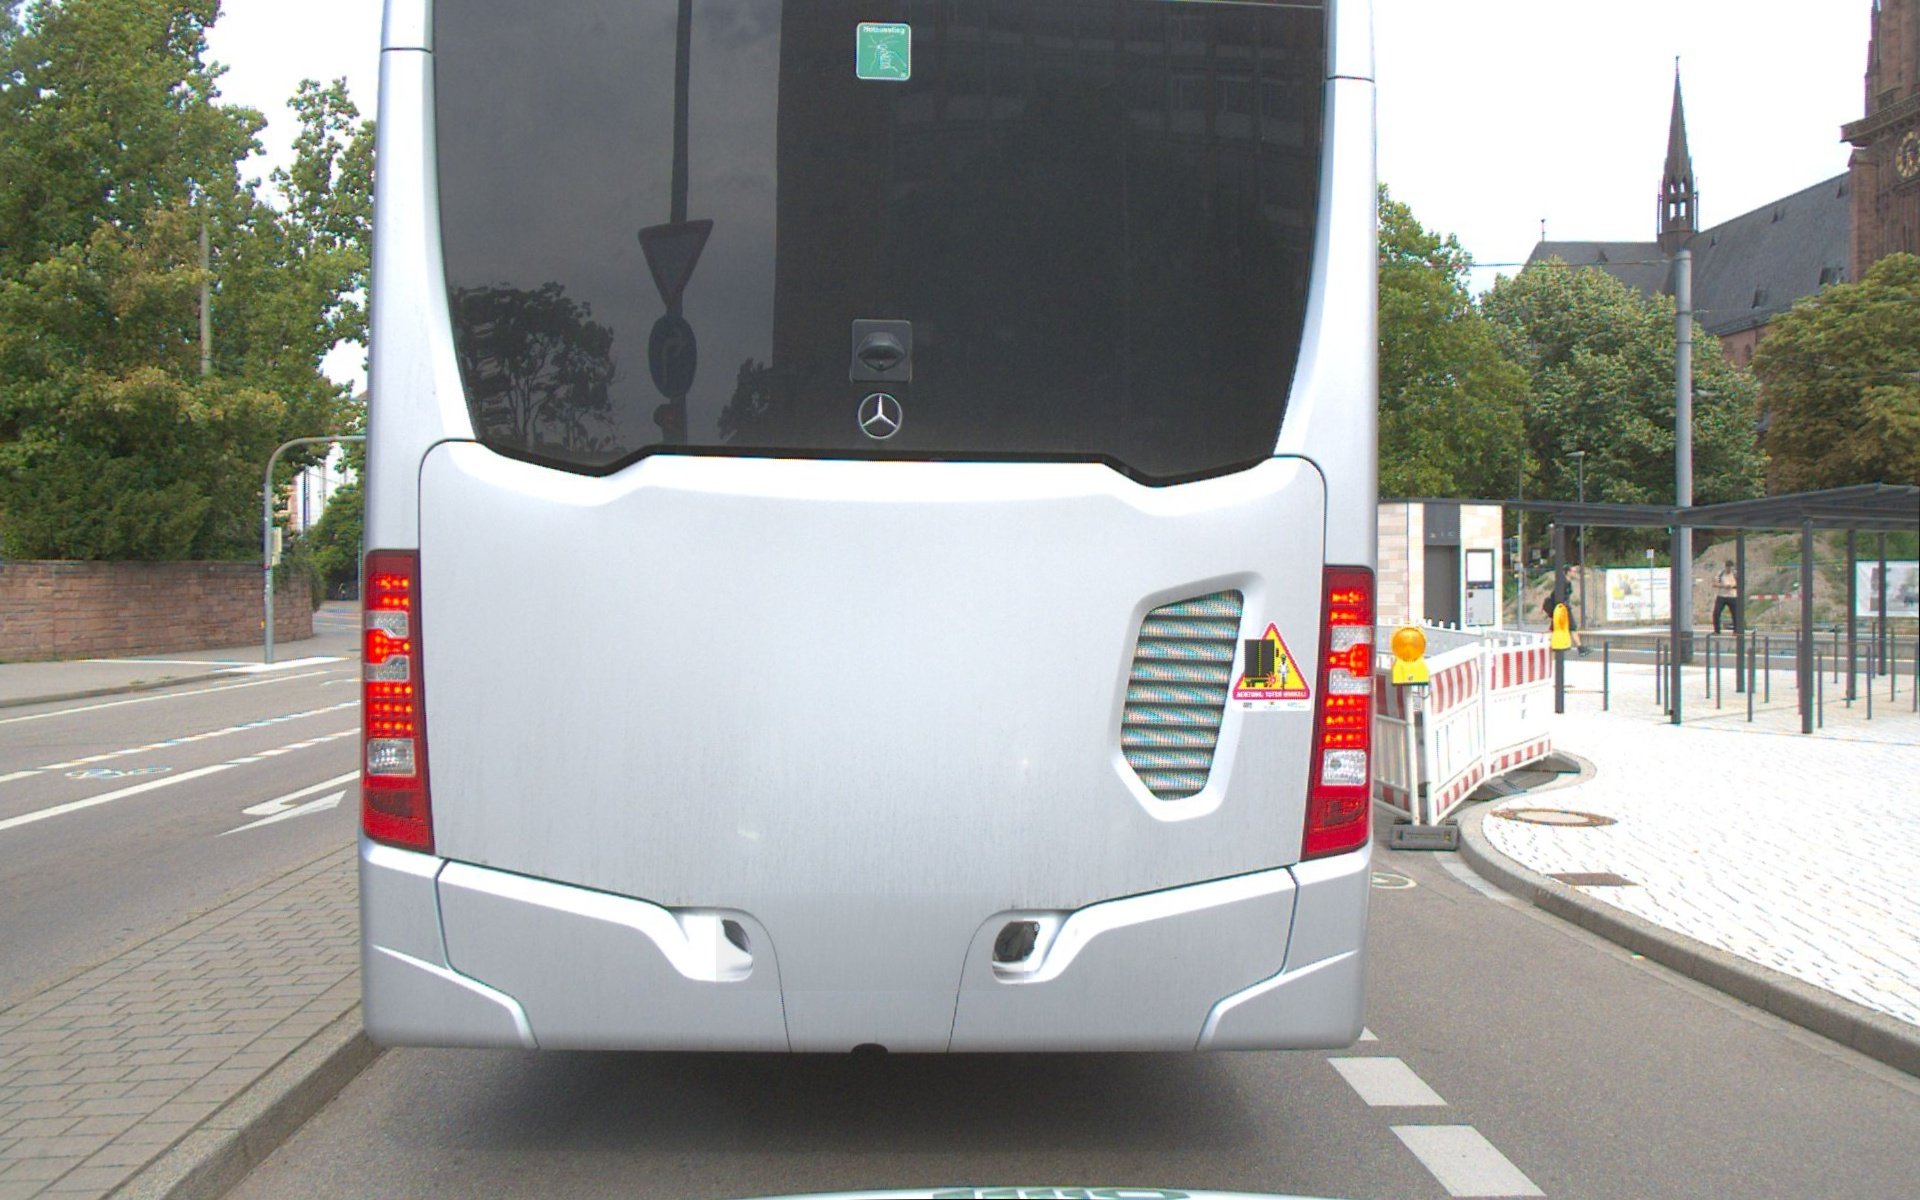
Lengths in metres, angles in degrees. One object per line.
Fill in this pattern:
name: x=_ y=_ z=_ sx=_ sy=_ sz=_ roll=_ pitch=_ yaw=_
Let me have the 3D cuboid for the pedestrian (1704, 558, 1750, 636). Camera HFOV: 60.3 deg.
pedestrian: x=18.362 y=-0.074 z=39.612 sx=0.803 sy=1.832 sz=0.753 roll=0 pitch=3 yaw=9

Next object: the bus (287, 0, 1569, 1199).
bus: x=-0.245 y=-0.281 z=10.513 sx=2.650 sy=3.498 sz=14.179 roll=0 pitch=0 yaw=-2

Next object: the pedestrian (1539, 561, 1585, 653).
pedestrian: x=11.368 y=0.119 z=31.228 sx=0.526 sy=1.683 sz=0.621 roll=-2 pitch=3 yaw=-38
